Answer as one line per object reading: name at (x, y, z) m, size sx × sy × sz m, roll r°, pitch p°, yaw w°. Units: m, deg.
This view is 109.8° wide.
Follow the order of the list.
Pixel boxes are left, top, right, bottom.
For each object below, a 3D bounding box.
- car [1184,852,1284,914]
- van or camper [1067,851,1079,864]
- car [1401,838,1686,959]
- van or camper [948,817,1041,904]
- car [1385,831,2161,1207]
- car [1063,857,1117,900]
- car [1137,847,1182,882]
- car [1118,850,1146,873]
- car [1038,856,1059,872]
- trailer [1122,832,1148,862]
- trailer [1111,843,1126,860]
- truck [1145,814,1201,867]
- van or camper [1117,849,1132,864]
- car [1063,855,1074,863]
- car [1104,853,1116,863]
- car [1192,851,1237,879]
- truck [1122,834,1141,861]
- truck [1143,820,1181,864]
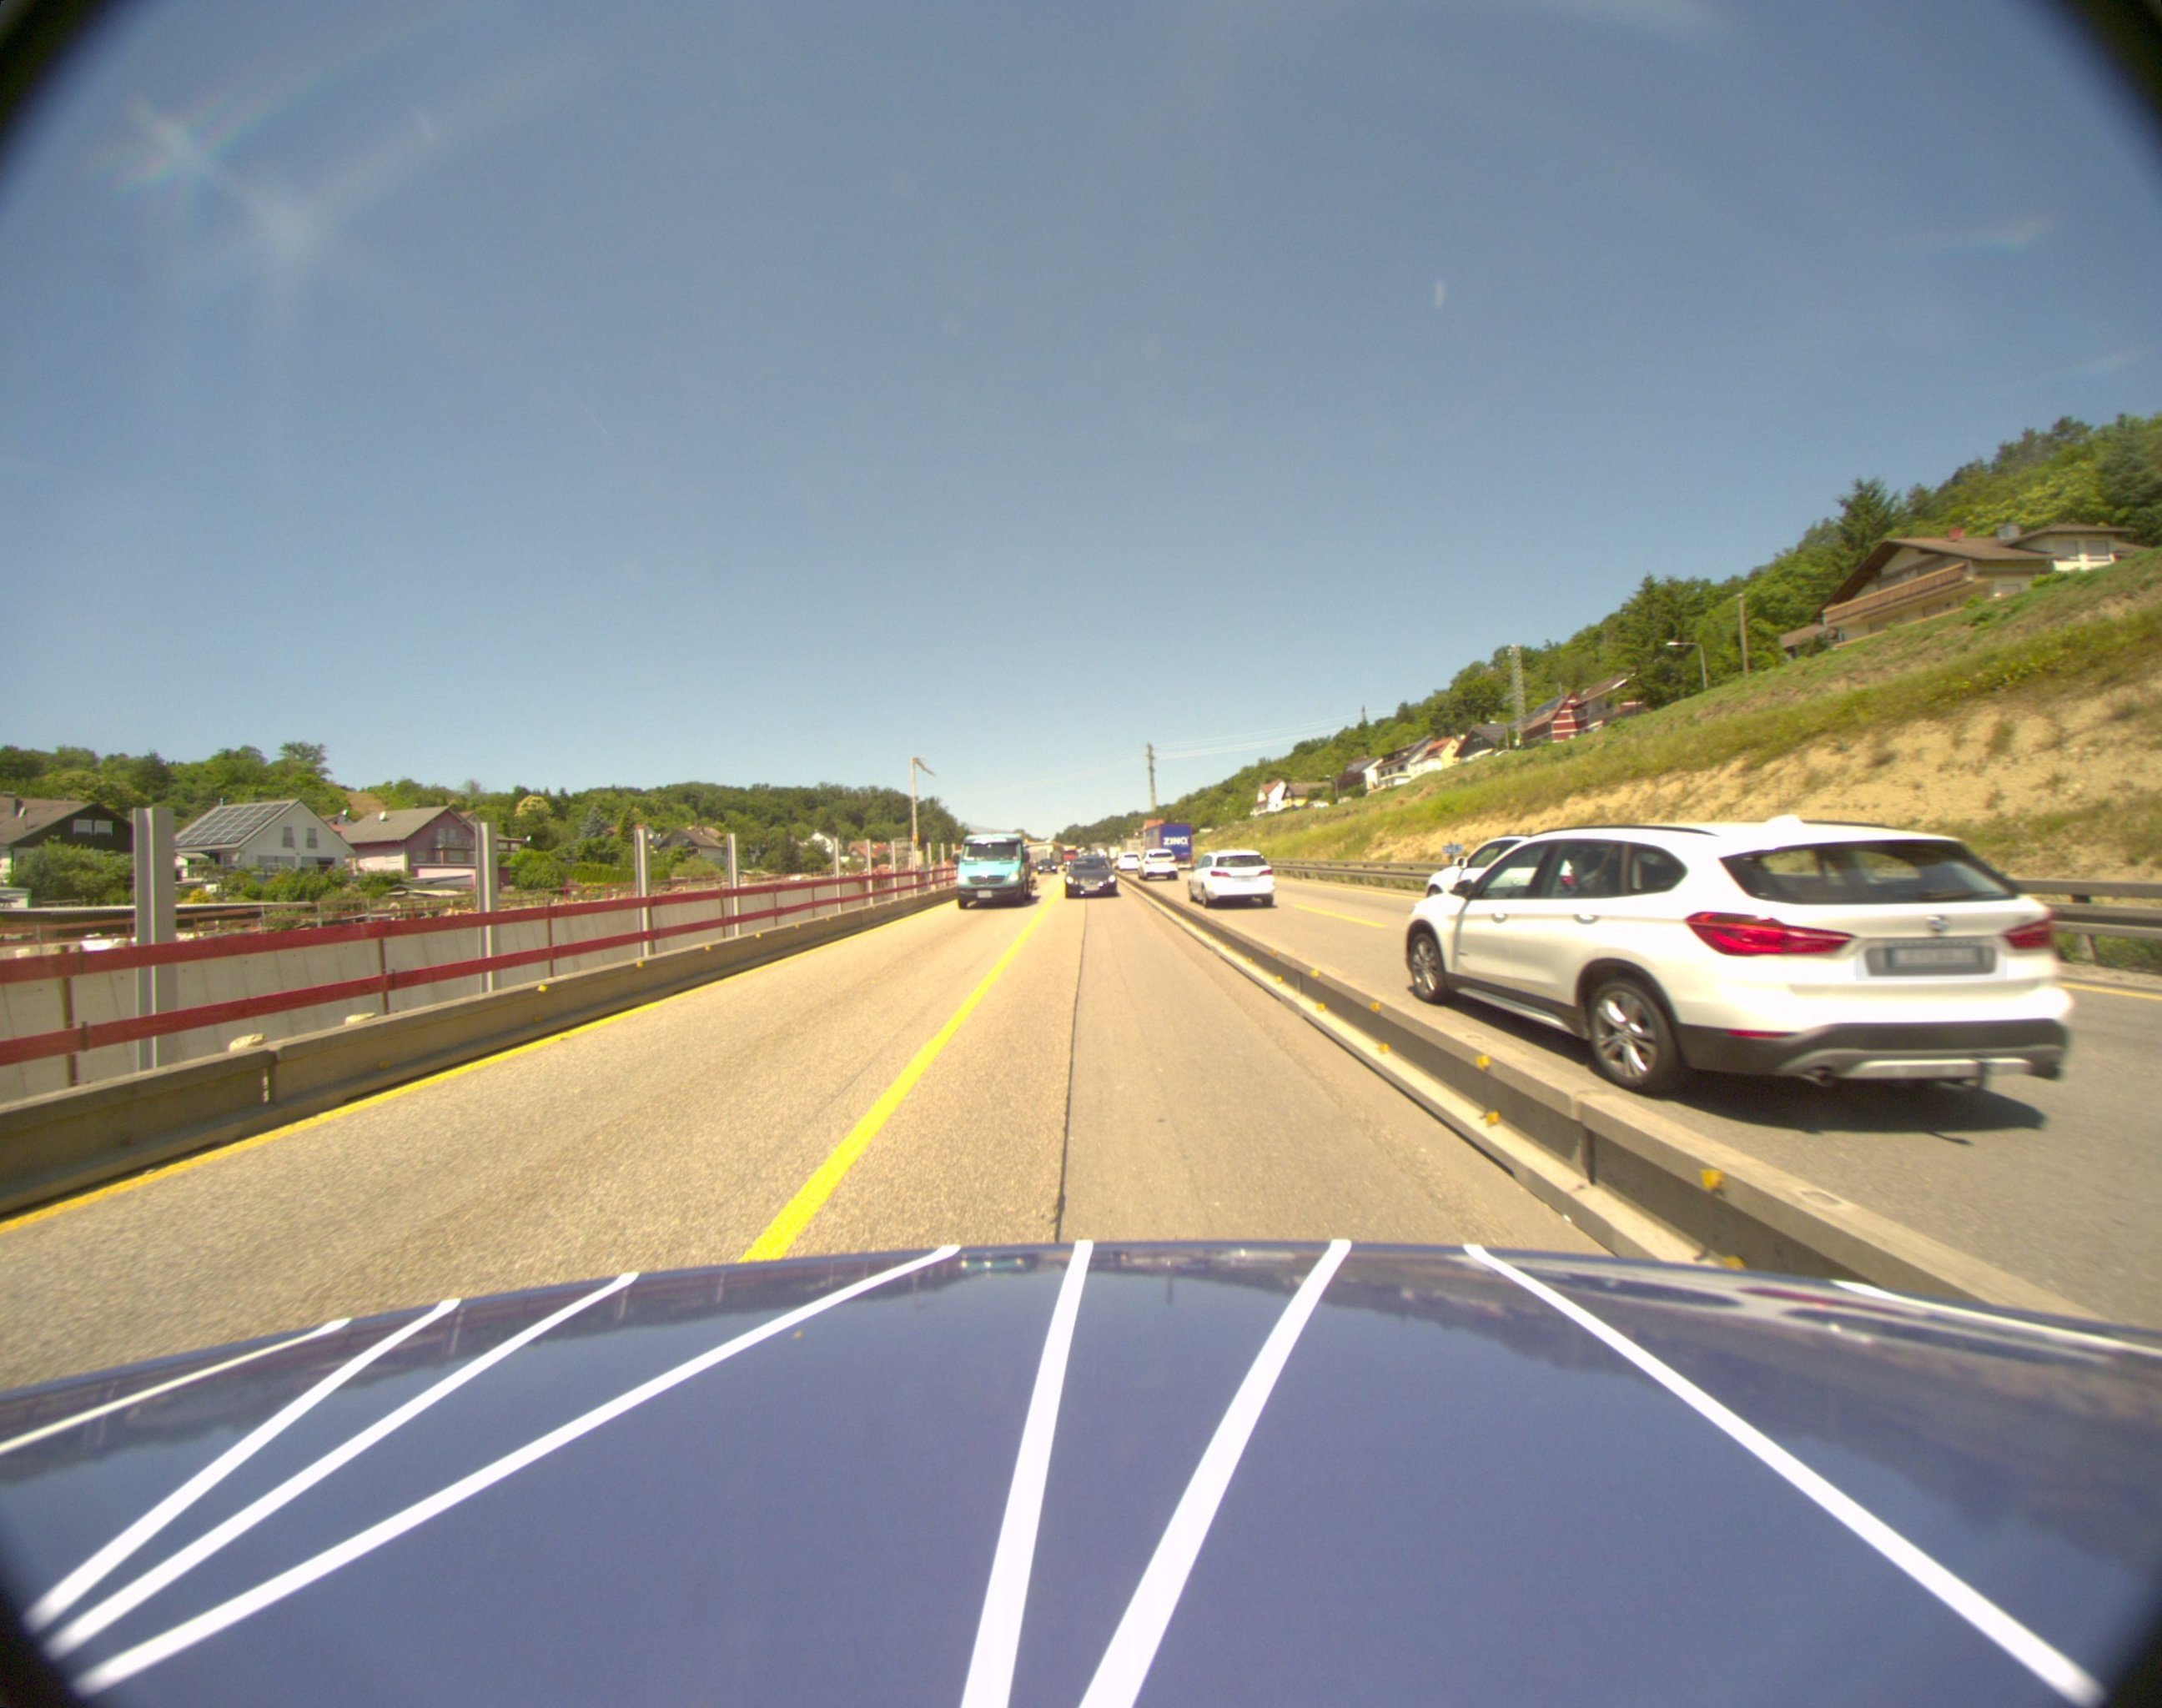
car at (4.037, 0.704, 20.781) m, size 1.811 × 1.468 × 4.279 m, roll -2°, pitch 0°, yaw 0°
van or camper at (-1.708, 0.733, 160.046) m, size 2.321 × 2.513 × 4.528 m, roll -4°, pitch 0°, yaw 1°
car at (7.228, 0.595, 12.554) m, size 1.904 × 1.575 × 4.513 m, roll -2°, pitch 0°, yaw 0°
van or camper at (-2.709, 0.196, 25.888) m, size 2.097 × 2.458 × 7.671 m, roll -2°, pitch 0°, yaw 1°
car at (3.986, 0.714, 5.478) m, size 1.820 × 1.583 × 4.289 m, roll -2°, pitch 0°, yaw 0°
car at (0.321, 0.831, 27.485) m, size 1.747 × 1.420 × 4.000 m, roll -2°, pitch 0°, yaw 1°
car at (4.227, 0.533, 41.549) m, size 1.896 × 1.698 × 4.561 m, roll -2°, pitch 0°, yaw 0°
car at (3.934, 0.561, 59.211) m, size 1.817 × 1.628 × 4.361 m, roll -2°, pitch 0°, yaw 0°
car at (-2.886, 0.904, 68.254) m, size 1.611 × 1.324 × 3.496 m, roll -3°, pitch 0°, yaw 1°
trailer at (8.304, -0.985, 118.625) m, size 2.817 × 4.261 × 14.034 m, roll -2°, pitch 0°, yaw 0°
trailer at (9.365, -0.580, 191.259) m, size 2.864 × 4.100 × 13.437 m, roll -2°, pitch 0°, yaw 0°
truck at (8.000, -1.118, 68.124) m, size 3.251 × 4.135 × 13.977 m, roll -2°, pitch 0°, yaw 0°
van or camper at (8.430, 0.391, 147.422) m, size 2.340 × 2.761 × 7.517 m, roll -2°, pitch 0°, yaw 0°
car at (-2.304, 0.873, 140.813) m, size 1.679 × 1.346 × 3.486 m, roll -4°, pitch 0°, yaw 1°
car at (5.041, 0.666, 131.508) m, size 1.853 × 1.577 × 4.174 m, roll -2°, pitch 0°, yaw 0°
car at (7.112, 0.572, 40.833) m, size 1.706 × 1.370 × 3.966 m, roll -2°, pitch 0°, yaw 0°
truck at (8.312, -1.013, 125.756) m, size 2.781 × 4.262 × 4.676 m, roll -2°, pitch 0°, yaw 0°
truck at (8.024, -1.133, 75.678) m, size 3.247 × 4.136 × 4.247 m, roll -2°, pitch 1°, yaw 0°
